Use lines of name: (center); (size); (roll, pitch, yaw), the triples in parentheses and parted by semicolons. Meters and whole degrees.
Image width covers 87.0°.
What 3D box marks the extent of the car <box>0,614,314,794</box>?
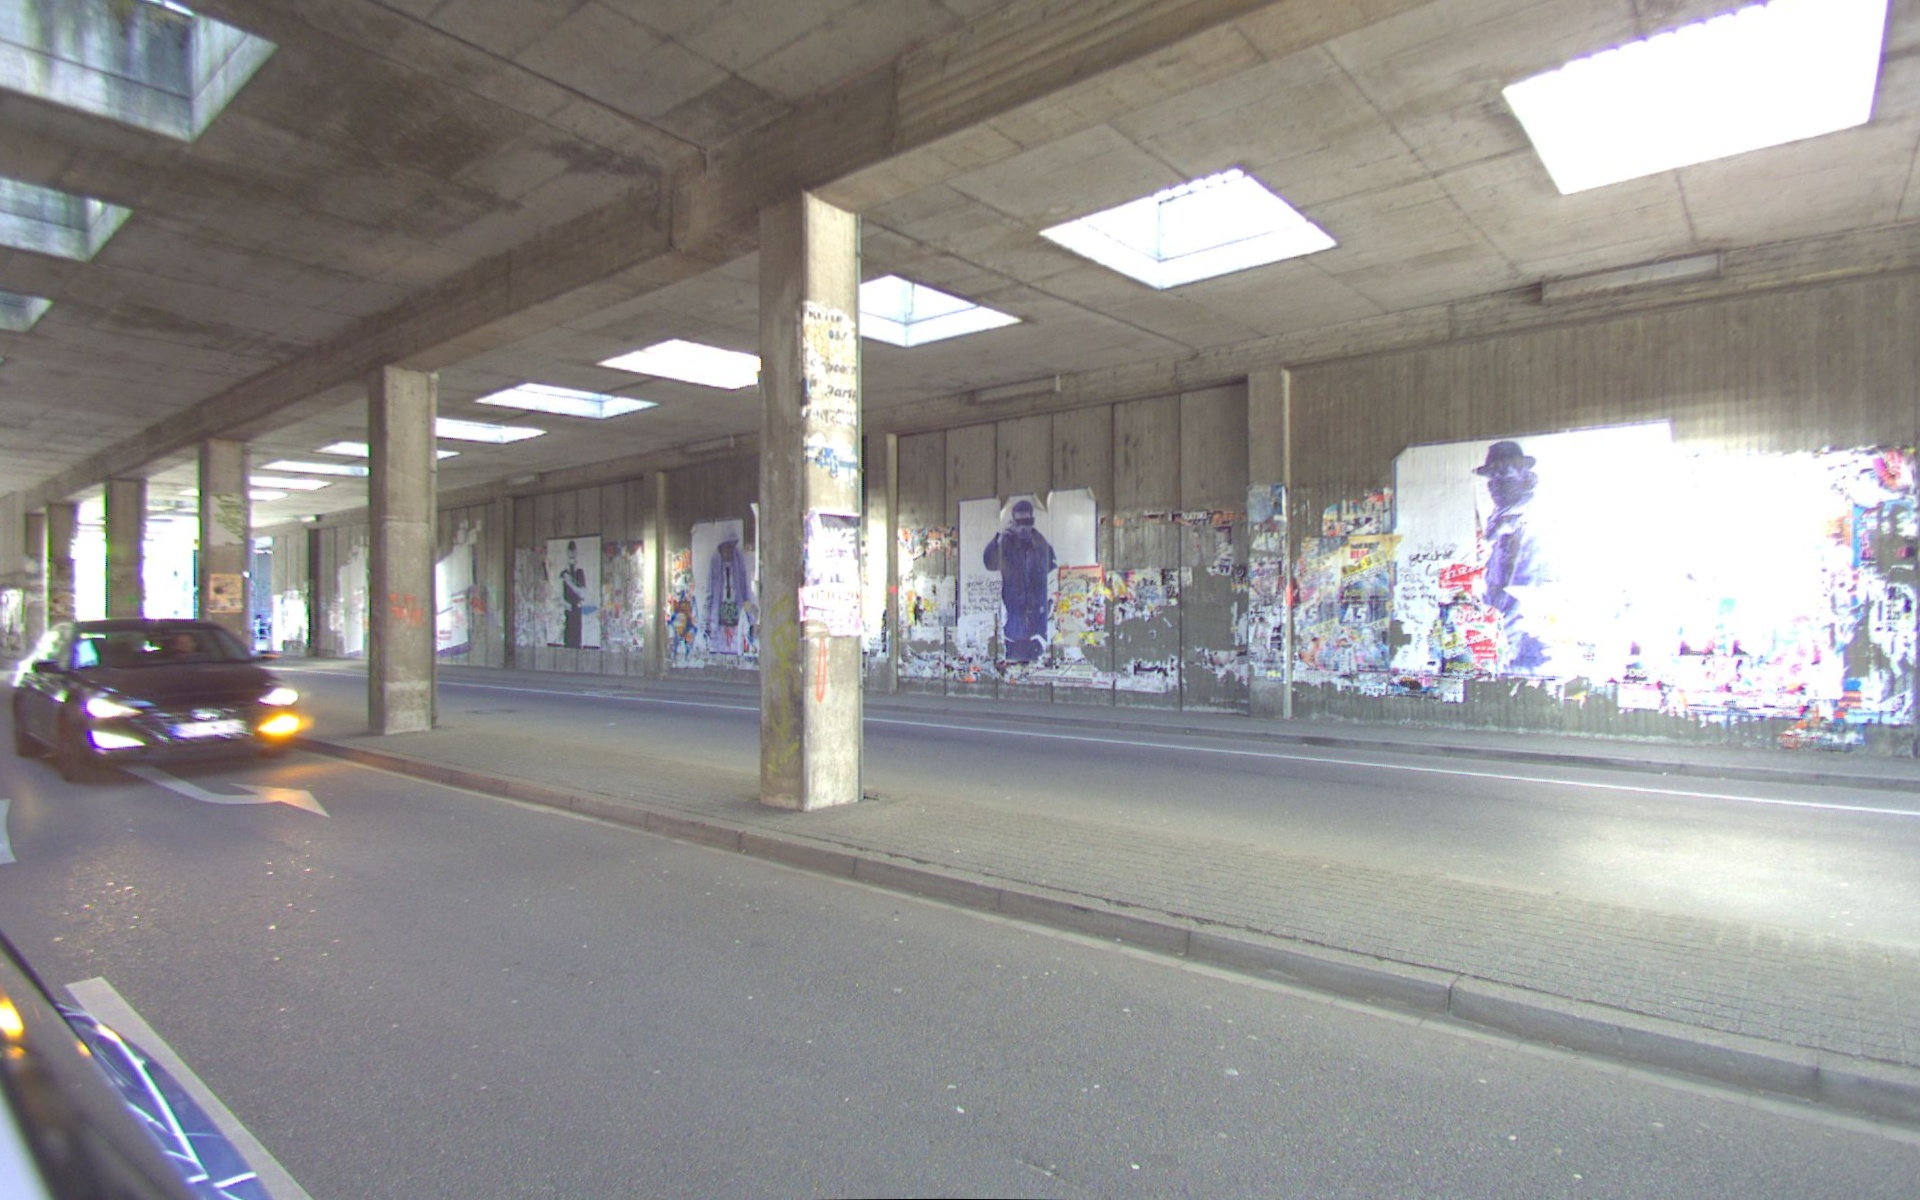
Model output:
car: (-8.421, 0.914, 10.465); (4.175, 1.458, 1.762); (-1, 0, 40)
